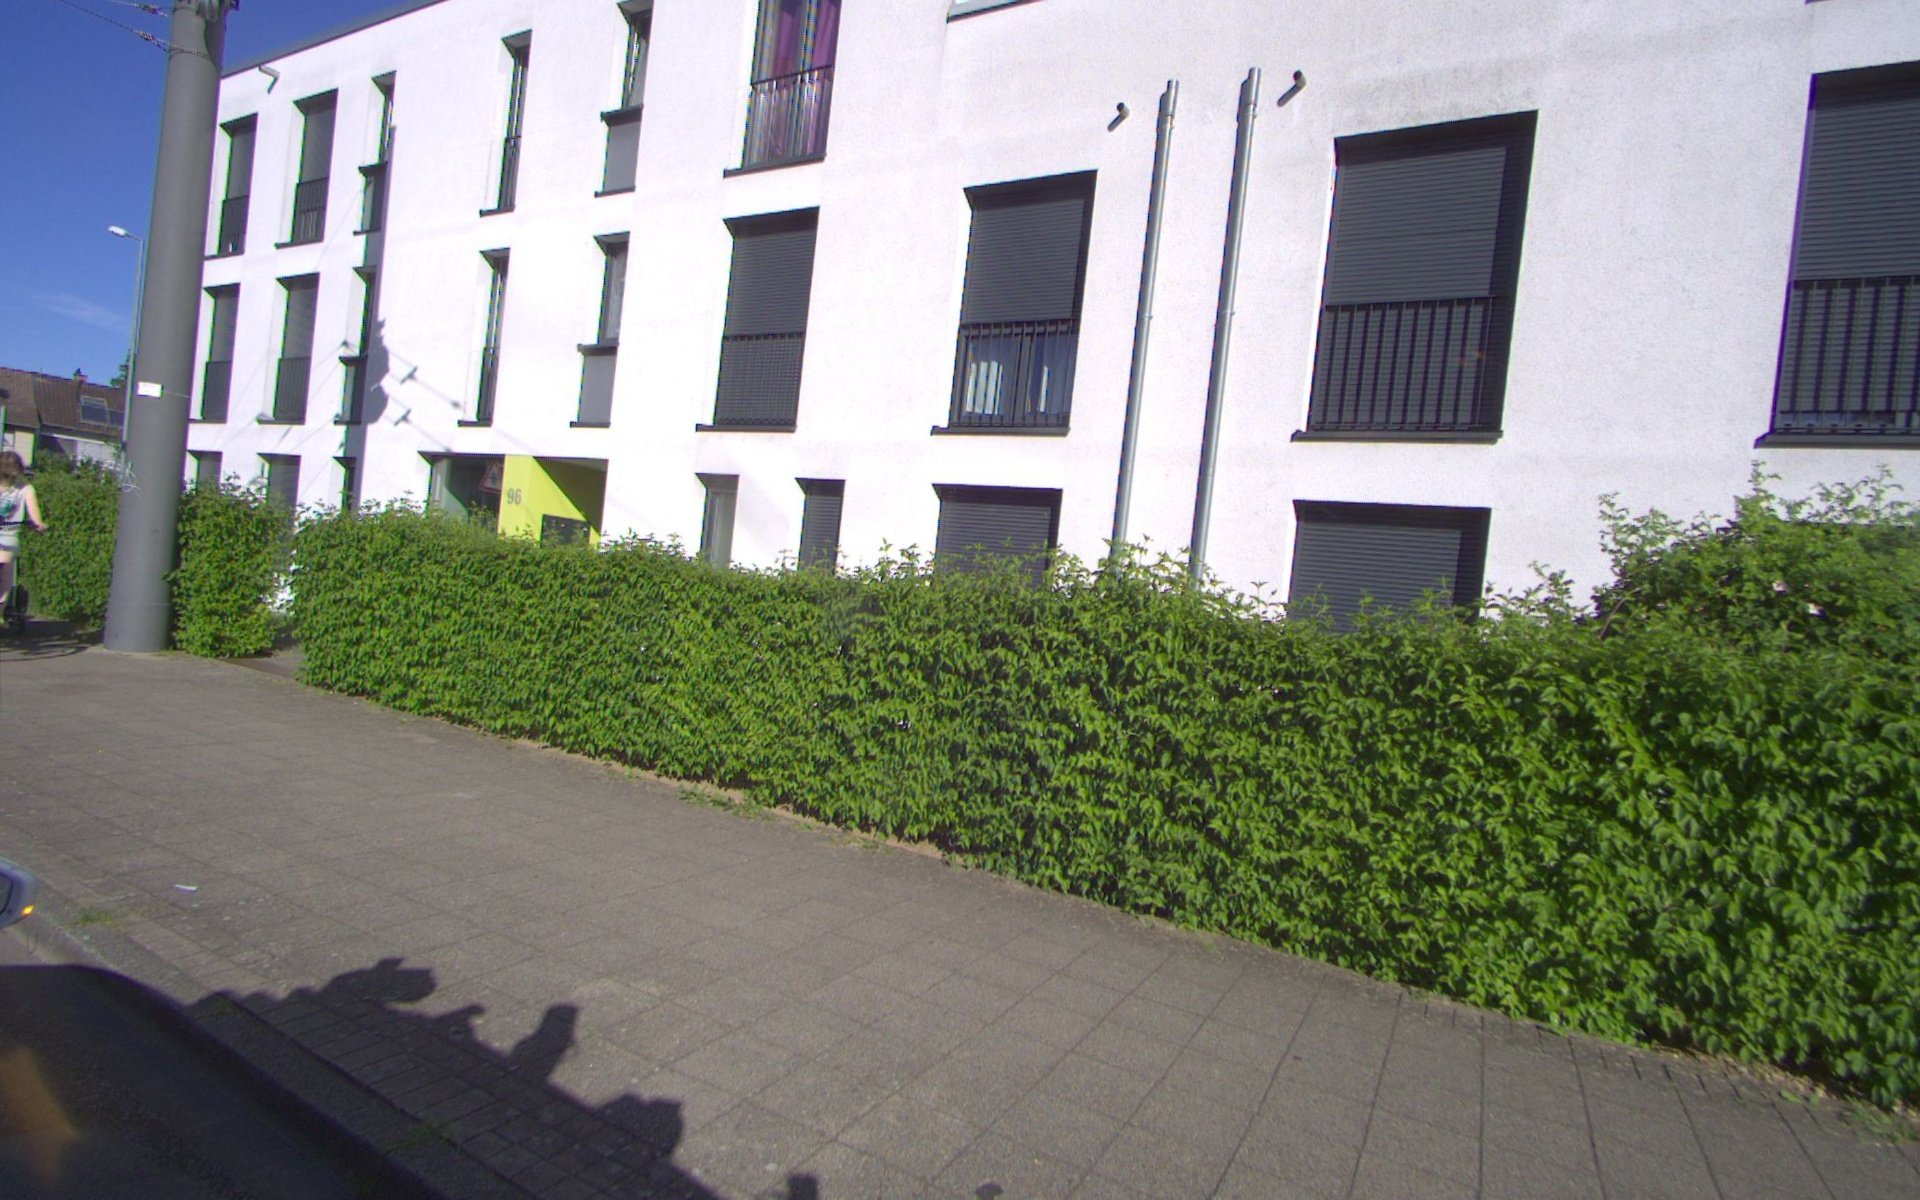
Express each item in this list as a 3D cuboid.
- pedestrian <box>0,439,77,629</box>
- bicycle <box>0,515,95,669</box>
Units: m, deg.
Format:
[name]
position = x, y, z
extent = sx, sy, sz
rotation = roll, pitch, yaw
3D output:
[pedestrian]
position = -8.612, -0.611, 8.954
extent = 0.842, 1.614, 0.910
rotation = 7, 1, 39
[bicycle]
position = -8.895, -0.166, 9.160
extent = 3.079, 1.188, 0.928
rotation = 6, 1, 39
